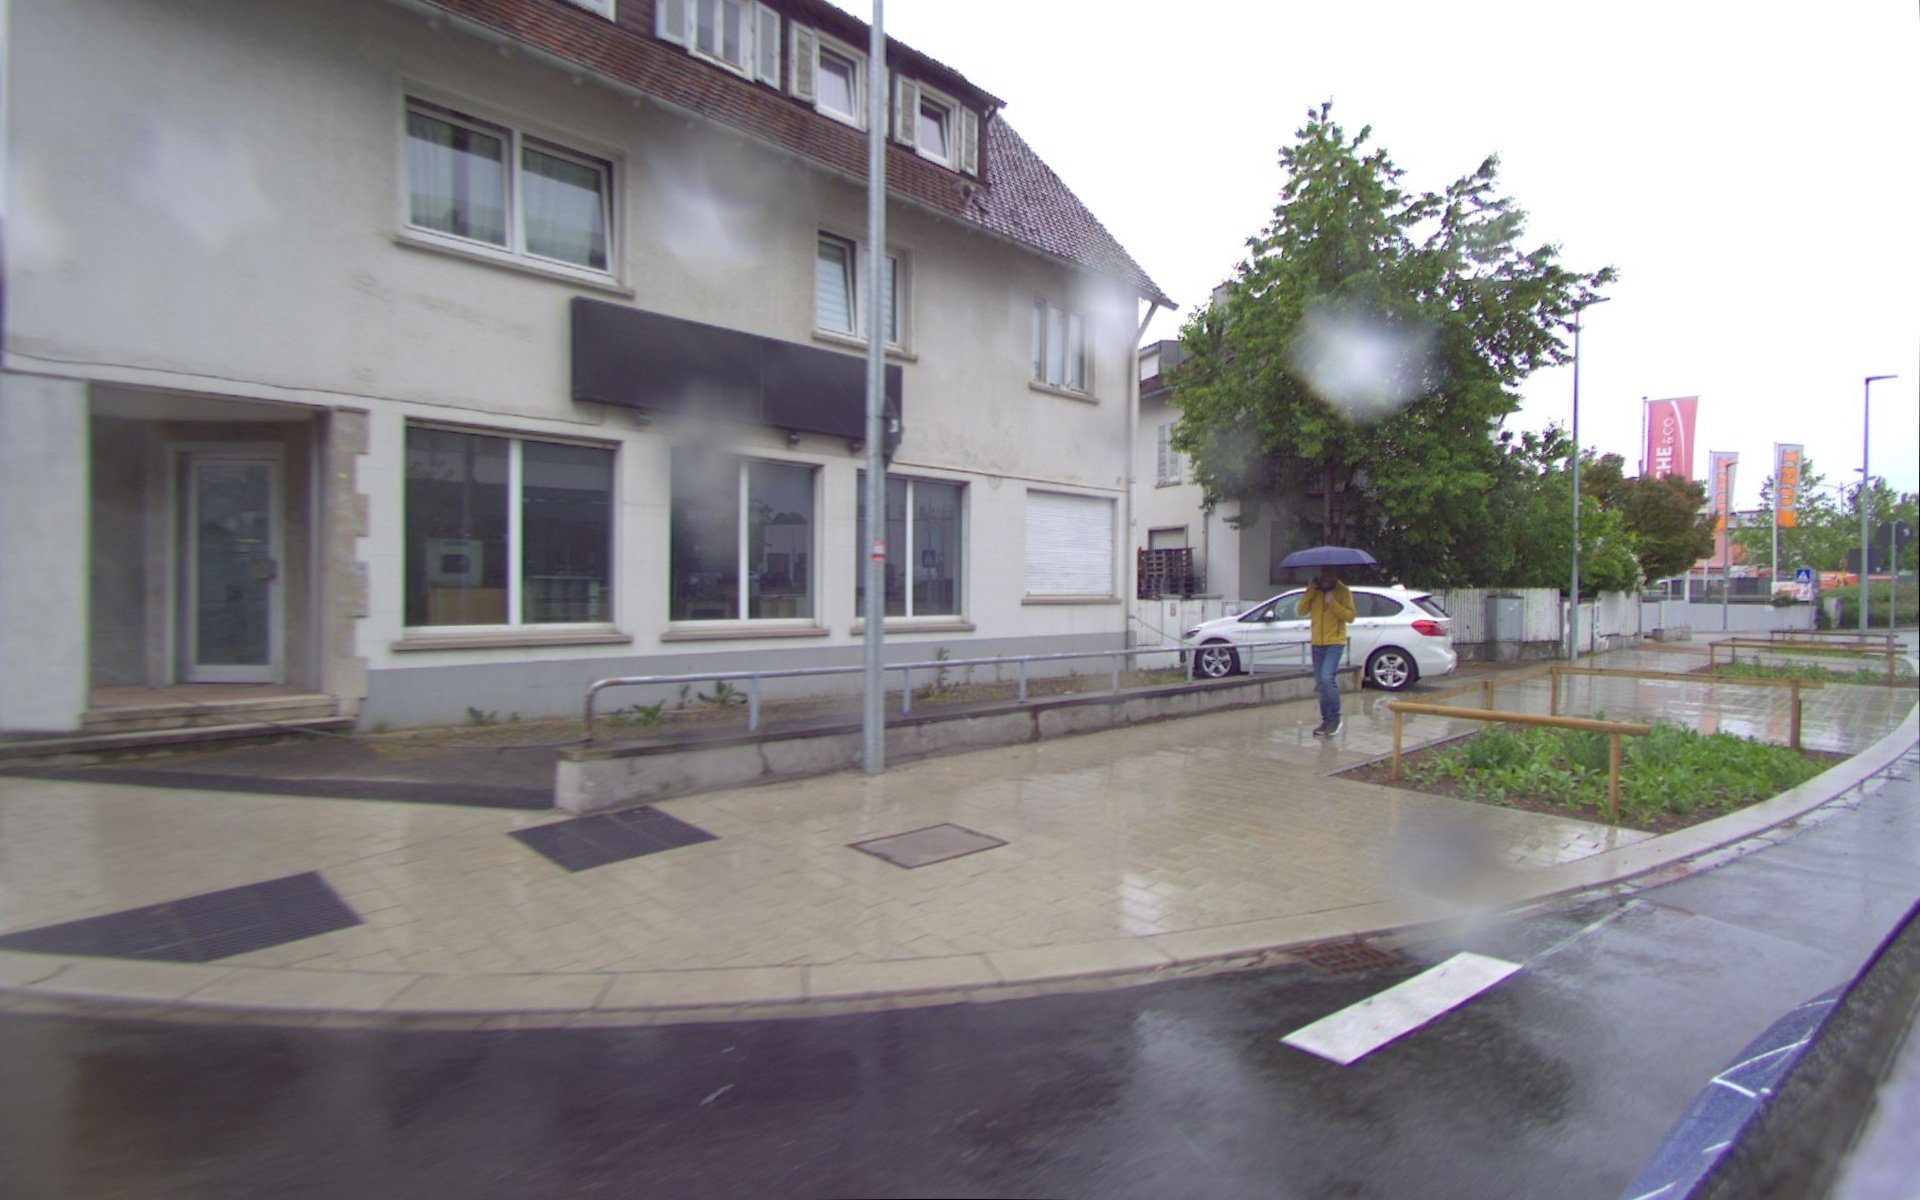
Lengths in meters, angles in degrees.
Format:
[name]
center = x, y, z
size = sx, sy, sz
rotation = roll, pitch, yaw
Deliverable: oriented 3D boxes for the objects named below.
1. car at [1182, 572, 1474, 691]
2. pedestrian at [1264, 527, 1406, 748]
[car]
center = 5.912, 0.417, 16.364
size = 4.111, 1.600, 1.977
rotation = 3, 1, 32
[pedestrian]
center = 3.728, 0.324, 10.040
size = 0.859, 2.038, 1.176
rotation = 3, 2, 44
